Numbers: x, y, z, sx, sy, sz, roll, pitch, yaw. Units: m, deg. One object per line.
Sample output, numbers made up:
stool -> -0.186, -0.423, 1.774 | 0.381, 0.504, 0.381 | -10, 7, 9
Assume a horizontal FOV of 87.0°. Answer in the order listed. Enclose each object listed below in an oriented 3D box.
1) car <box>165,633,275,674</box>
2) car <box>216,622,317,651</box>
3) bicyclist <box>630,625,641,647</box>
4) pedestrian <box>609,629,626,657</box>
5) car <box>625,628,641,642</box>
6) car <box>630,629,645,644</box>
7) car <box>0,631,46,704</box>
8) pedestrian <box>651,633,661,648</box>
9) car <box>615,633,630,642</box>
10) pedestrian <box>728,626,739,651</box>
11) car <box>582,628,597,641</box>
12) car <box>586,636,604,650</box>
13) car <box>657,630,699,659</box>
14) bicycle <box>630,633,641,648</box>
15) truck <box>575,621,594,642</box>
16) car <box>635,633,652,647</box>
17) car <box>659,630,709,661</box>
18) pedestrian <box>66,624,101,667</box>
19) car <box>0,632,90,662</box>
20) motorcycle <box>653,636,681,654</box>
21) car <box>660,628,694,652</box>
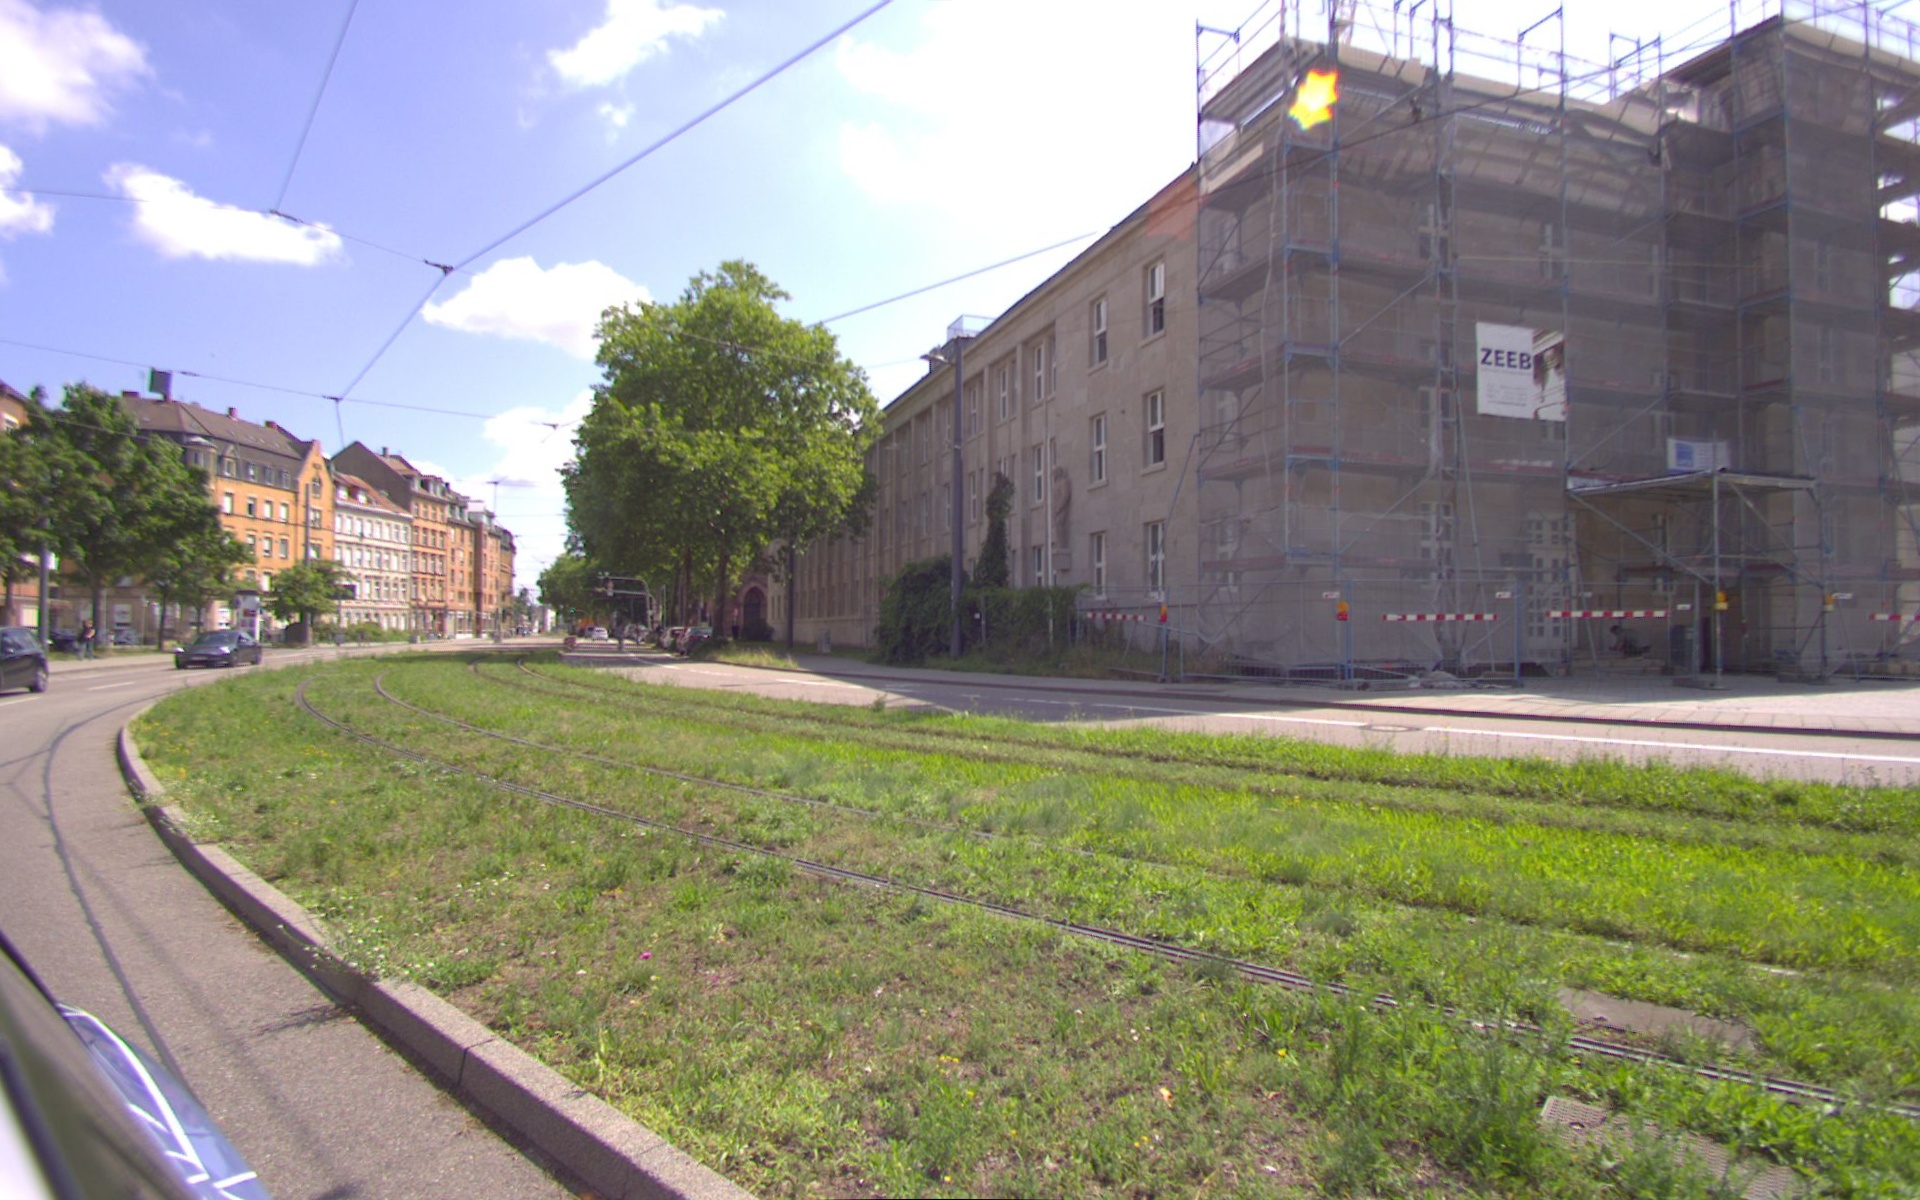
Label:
car -> -28.685, 2.022, 39.413 | 1.884, 1.404, 4.324 | -1, -1, -12
car -> -59.186, 3.103, 86.559 | 6.860, 2.392, 2.270 | 1, -2, -28
bicyclist -> -25.666, 2.829, 80.032 | 0.750, 1.717, 0.786 | -1, -1, -19
pedestrian -> -21.771, 2.744, 64.340 | 0.700, 1.717, 0.774 | -2, -2, 34
car -> -48.053, 5.177, 148.745 | 1.960, 2.019, 4.098 | -1, -1, -22
car -> -41.419, 4.688, 129.923 | 1.732, 1.850, 4.012 | -1, -1, -19
car -> -22.526, 1.525, 22.789 | 1.844, 1.631, 4.202 | 0, -1, -27
pedestrian -> -26.747, 3.553, 89.103 | 0.745, 1.221, 0.916 | -5, 0, -18
car -> -55.237, 6.098, 165.482 | 1.732, 1.508, 4.013 | -1, -1, -26
pedestrian -> -14.724, 2.498, 65.719 | 0.546, 1.603, 0.798 | -1, -1, -20
car -> -53.030, 4.924, 144.746 | 1.893, 1.759, 4.552 | 3, -3, -20
car -> -40.723, 4.827, 112.874 | 1.735, 1.491, 3.800 | 3, -3, -20
car -> -15.510, 2.430, 55.556 | 1.899, 1.431, 4.062 | -1, -2, -19
bicycle -> -25.725, 3.179, 80.178 | 0.779, 1.118, 2.283 | -1, -1, -18
truck -> -61.149, 5.124, 164.810 | 2.602, 3.130, 7.245 | 2, -2, -20
car -> -36.107, 4.534, 115.307 | 1.732, 1.508, 4.012 | -1, -1, -19
car -> -13.884, 2.273, 50.789 | 1.899, 1.379, 4.331 | -1, -2, -22
pedestrian -> -35.372, 1.824, 40.842 | 0.690, 1.717, 1.048 | 2, -1, -21
car -> -44.983, 2.282, 49.309 | 3.938, 1.364, 1.964 | 0, -2, -42
motorcycle -> -21.648, 3.337, 74.877 | 0.543, 1.185, 2.084 | -6, -2, 32
car -> -18.386, 2.612, 65.647 | 1.722, 1.465, 3.502 | -1, -2, -22
